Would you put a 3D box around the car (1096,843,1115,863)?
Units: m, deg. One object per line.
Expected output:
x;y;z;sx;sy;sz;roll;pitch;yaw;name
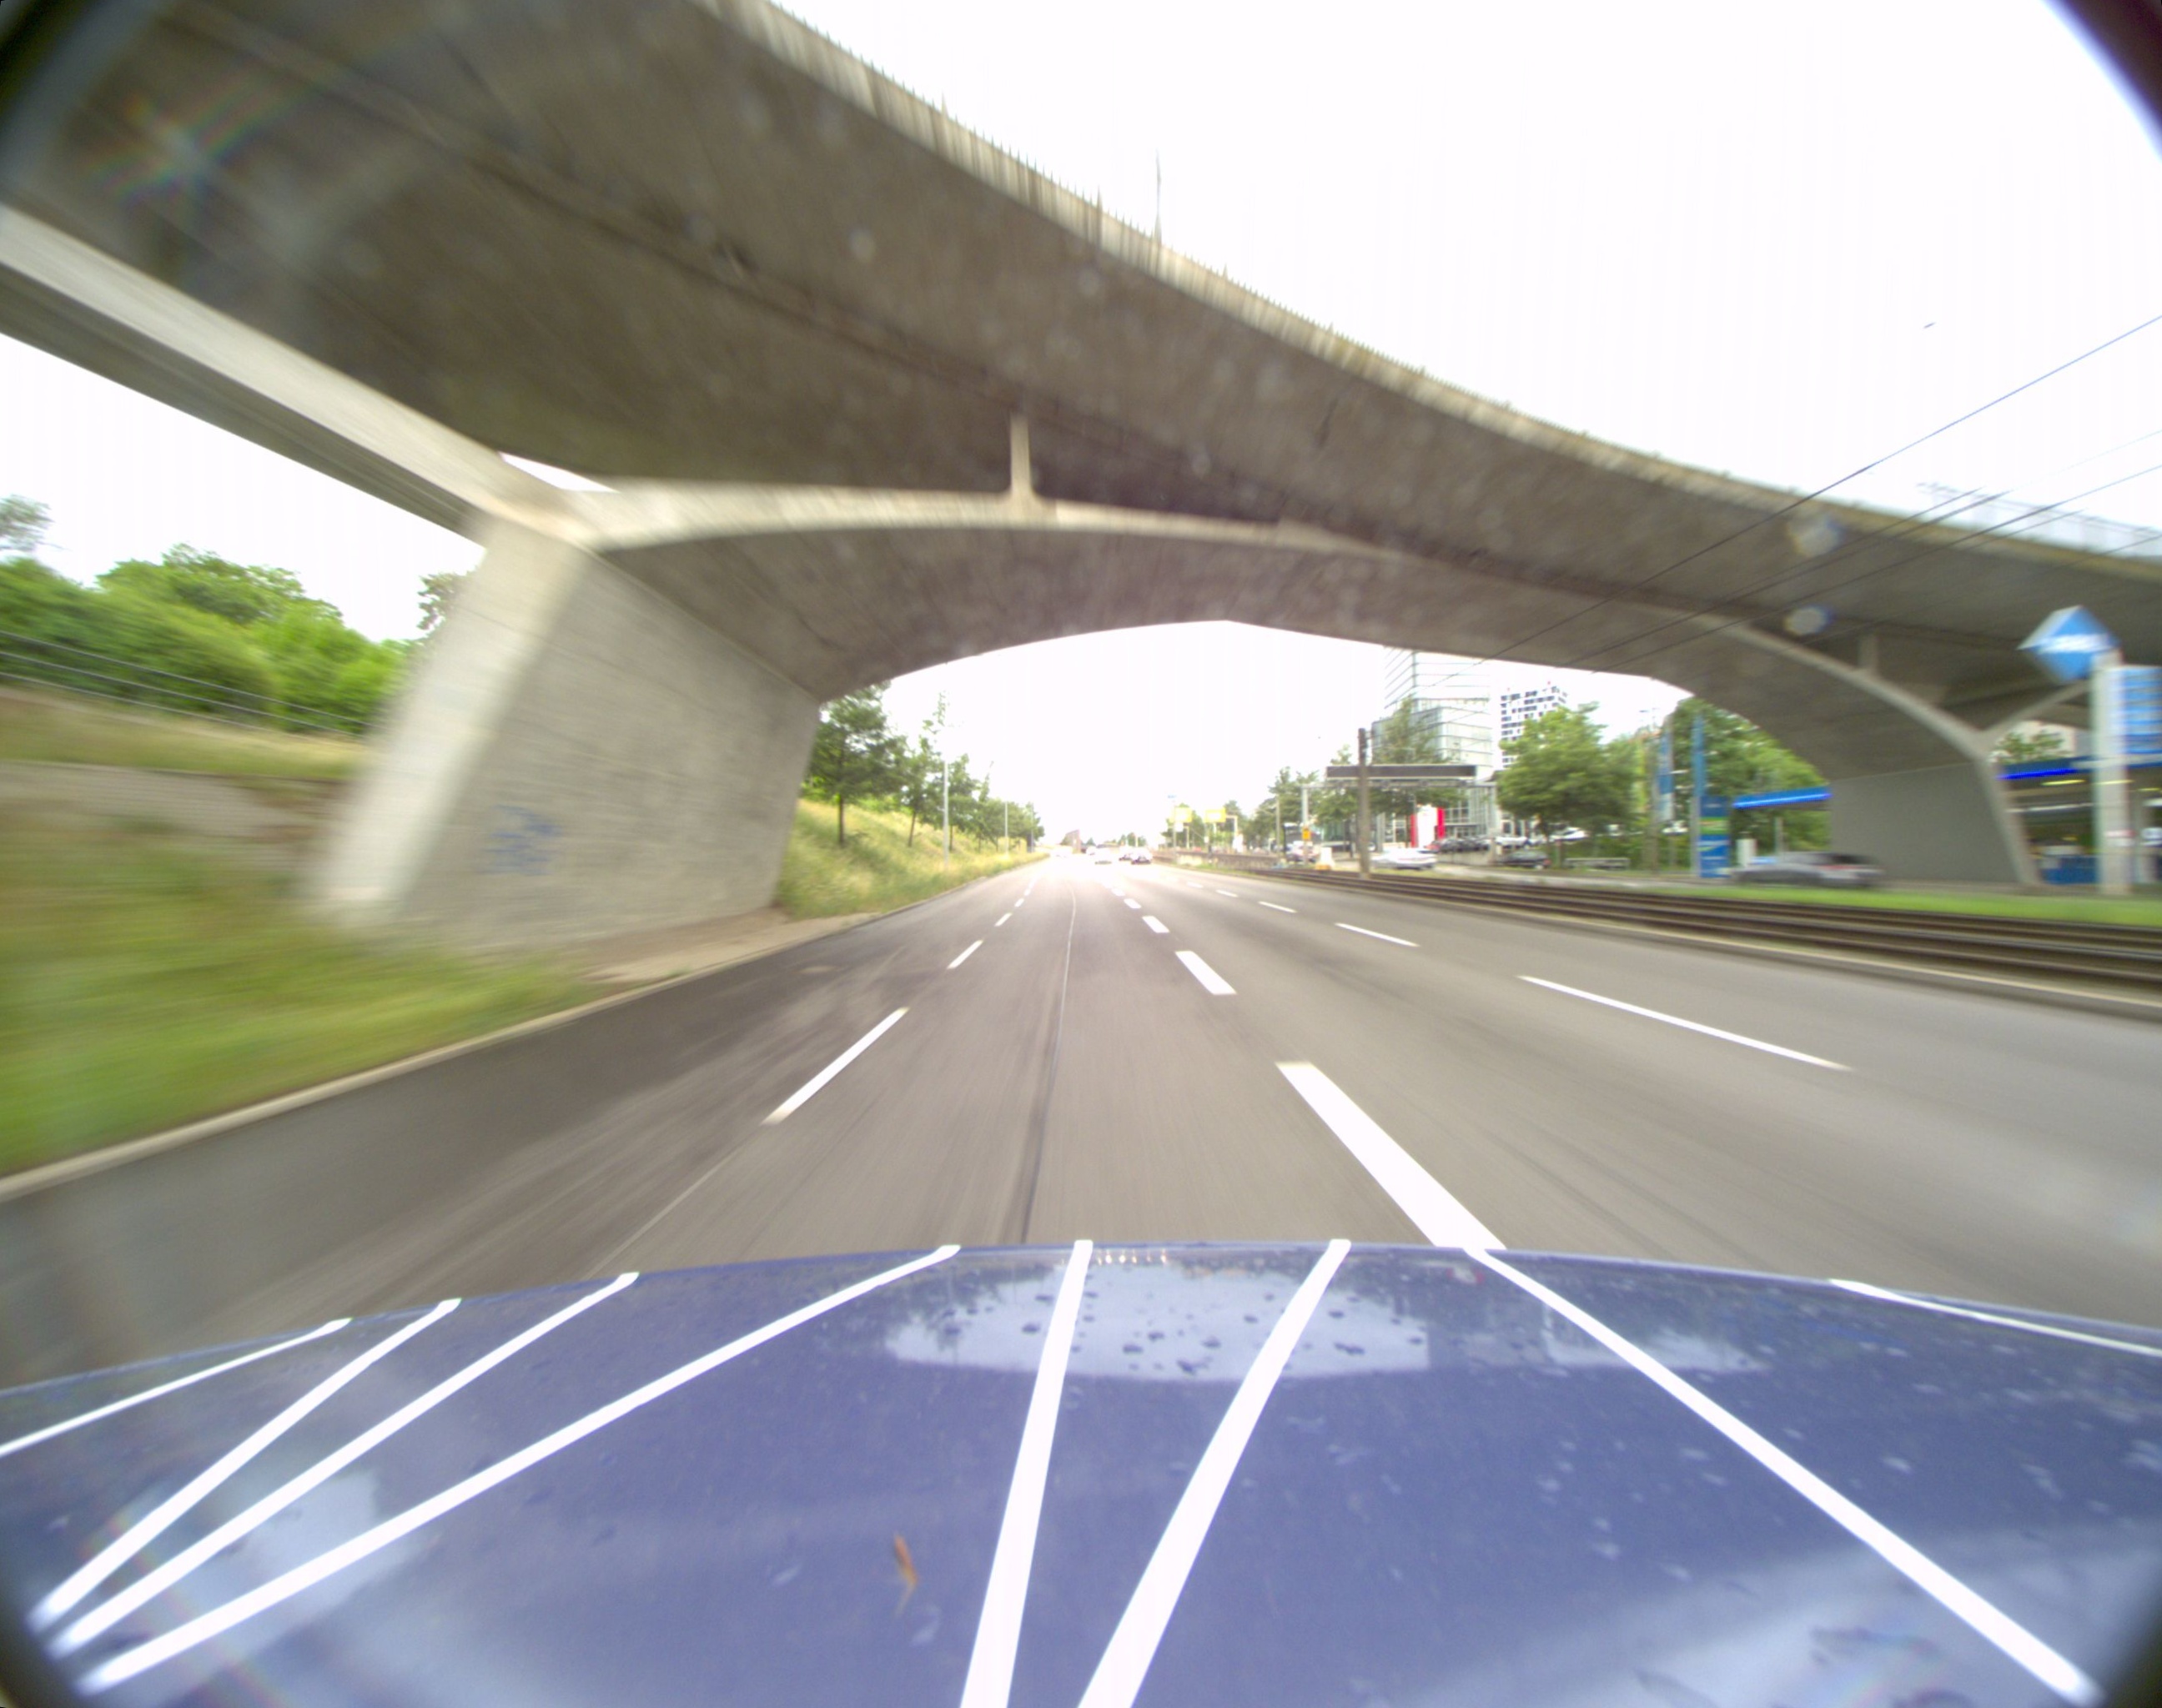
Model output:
2.580;-0.095;78.738;1.794;1.858;4.377;-2;2;3;car

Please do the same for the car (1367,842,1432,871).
18.893;0.139;45.265;1.769;1.588;4.791;-3;0;-1;car

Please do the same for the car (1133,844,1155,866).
5.826;0.097;70.976;1.794;1.858;4.377;-2;2;3;car

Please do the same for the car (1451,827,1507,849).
38.625;-1.590;73.770;4.363;1.936;1.885;-2;2;4;car

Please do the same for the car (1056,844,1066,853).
-3.978;-1.121;154.337;1.794;1.621;4.376;-2;2;1;car

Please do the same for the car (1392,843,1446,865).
24.418;-0.030;55.107;1.925;1.488;4.657;1;0;2;car

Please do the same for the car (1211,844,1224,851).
26.524;-1.302;147.885;1.770;1.302;4.111;-2;2;2;car

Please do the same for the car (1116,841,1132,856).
5.016;-0.634;88.811;1.794;1.535;4.377;-2;2;3;car

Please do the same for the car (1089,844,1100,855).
2.527;-0.889;137.582;1.794;1.858;4.377;-2;2;3;car

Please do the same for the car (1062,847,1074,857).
-2.304;-0.390;132.624;1.794;1.621;4.377;-2;2;3;car

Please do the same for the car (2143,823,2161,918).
18.296;0.233;9.997;1.814;1.524;4.869;-3;0;0;car

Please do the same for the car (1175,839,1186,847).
20.603;-2.302;157.382;1.794;1.392;4.874;-2;2;2;car

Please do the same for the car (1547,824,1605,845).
48.197;-1.879;73.998;4.363;1.804;1.885;-2;2;4;car

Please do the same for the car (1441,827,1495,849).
38.758;-1.603;76.202;4.363;1.936;1.885;-2;2;4;car

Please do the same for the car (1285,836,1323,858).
19.202;-0.559;65.667;1.925;1.766;4.224;-3;0;-1;car

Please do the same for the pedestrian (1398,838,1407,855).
34.459;-0.790;81.490;0.688;1.786;0.636;-2;2;2;pedestrian

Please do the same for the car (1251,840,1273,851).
27.272;-1.324;114.579;2.052;1.520;4.567;-3;0;-1;car

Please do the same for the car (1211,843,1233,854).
19.883;-0.744;107.403;2.052;1.530;4.759;-3;0;-1;car

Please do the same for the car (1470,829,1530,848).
38.081;-1.438;69.059;4.363;1.495;1.885;-2;2;4;car

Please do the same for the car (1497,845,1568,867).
34.711;0.176;58.538;4.358;1.495;1.887;-2;2;17;car

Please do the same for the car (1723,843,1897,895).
25.097;0.464;26.422;1.768;1.588;4.491;-3;0;2;car

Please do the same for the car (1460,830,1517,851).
38.063;-1.315;71.030;4.196;1.762;1.885;-2;2;4;car
